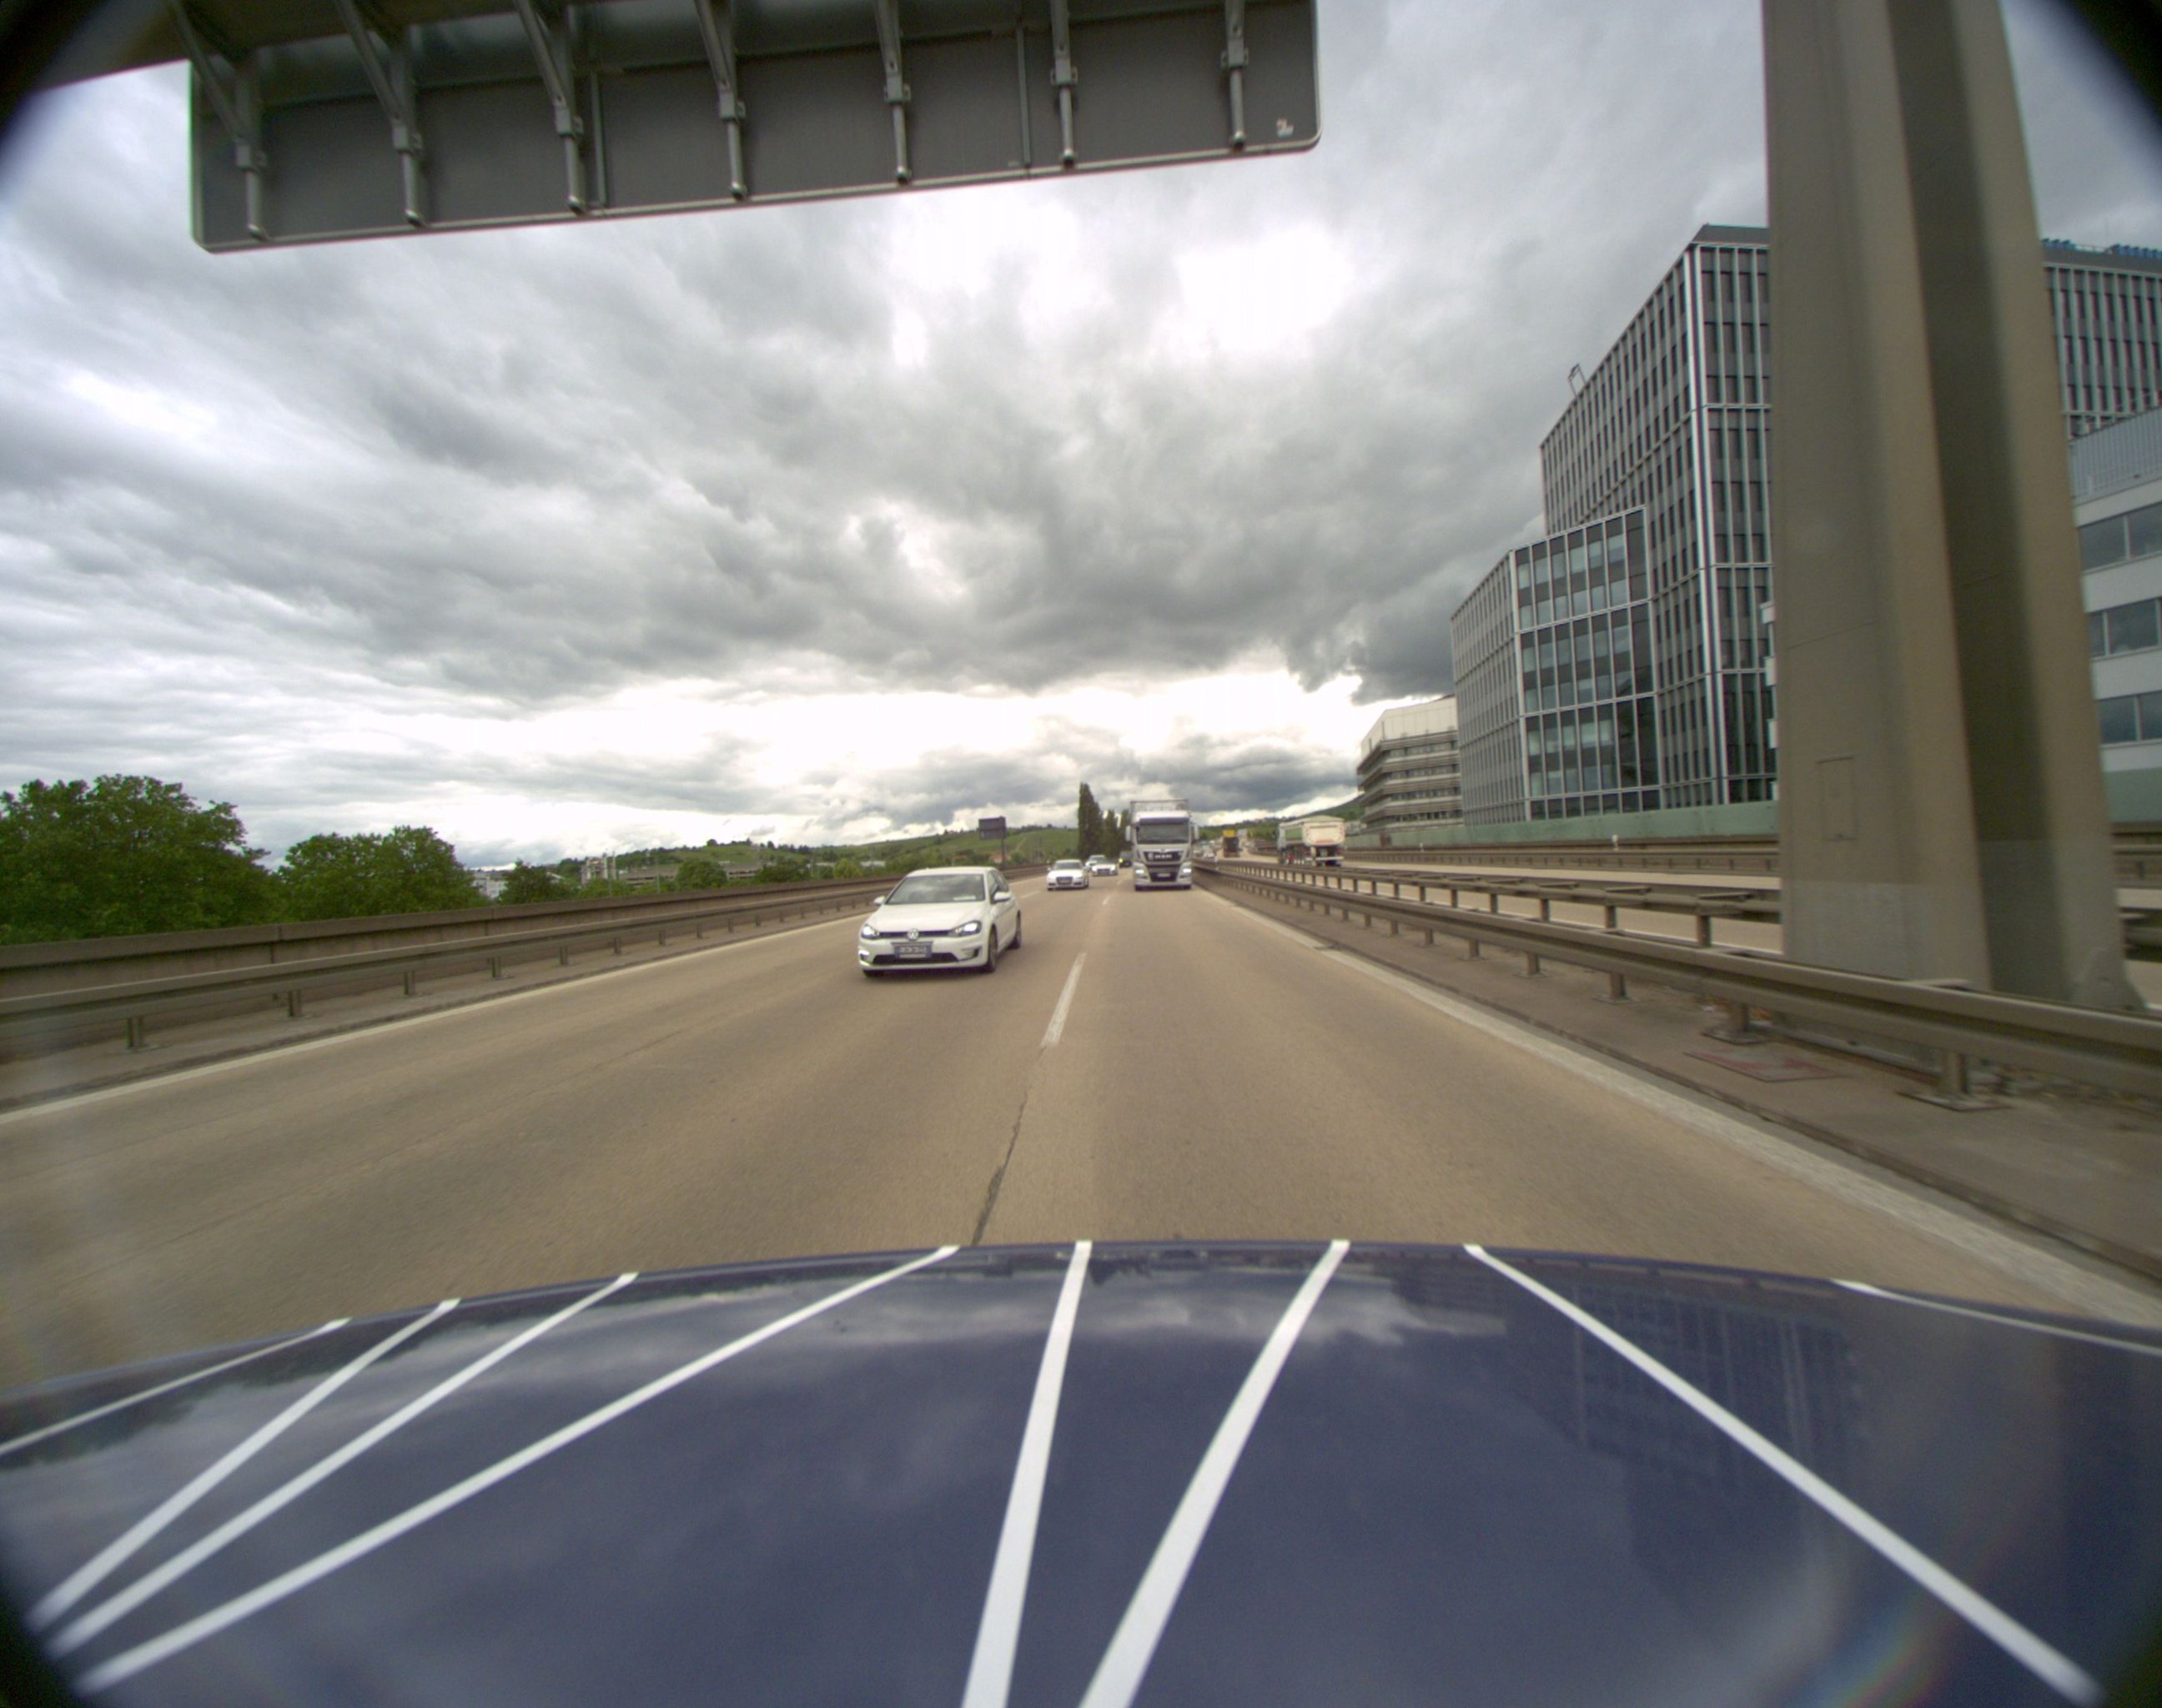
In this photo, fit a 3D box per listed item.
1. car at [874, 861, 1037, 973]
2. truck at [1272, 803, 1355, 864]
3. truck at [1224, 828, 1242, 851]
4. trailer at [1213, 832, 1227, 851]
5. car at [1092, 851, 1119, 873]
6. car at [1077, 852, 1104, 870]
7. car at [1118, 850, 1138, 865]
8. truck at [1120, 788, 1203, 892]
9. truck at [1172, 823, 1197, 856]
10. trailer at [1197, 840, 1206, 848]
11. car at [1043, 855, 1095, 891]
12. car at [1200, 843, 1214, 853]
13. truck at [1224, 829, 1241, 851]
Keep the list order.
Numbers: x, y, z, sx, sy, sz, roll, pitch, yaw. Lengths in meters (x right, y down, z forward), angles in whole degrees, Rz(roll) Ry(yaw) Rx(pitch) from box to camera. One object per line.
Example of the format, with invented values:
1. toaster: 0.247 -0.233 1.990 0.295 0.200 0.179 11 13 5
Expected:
1. car: -1.972 0.956 13.254 1.930 1.499 4.061 -2 1 3
2. truck: 16.259 -1.377 54.224 3.063 3.754 12.521 -2 1 5
3. truck: 28.039 -2.722 140.159 3.062 4.042 8.669 -2 1 11
4. trailer: 33.446 -3.073 183.236 2.850 3.965 11.887 -2 3 8
5. car: 1.949 0.615 60.507 1.930 1.585 4.061 -3 1 2
6. car: 0.950 0.706 76.814 1.929 1.585 4.064 -3 1 11
7. car: 5.667 0.440 90.994 1.929 1.585 4.063 -3 1 8
8. truck: 3.514 -0.592 33.693 3.141 4.014 5.689 -4 1 5
9. truck: 14.978 -2.098 110.602 3.063 4.536 12.074 -2 1 6
10. trailer: 29.260 -2.463 184.579 1.997 2.002 4.001 -2 1 9
11. car: -0.536 0.900 37.138 1.930 1.499 4.063 -3 1 7
12. car: 21.705 -0.986 131.081 1.998 1.597 4.808 -2 1 3
13. truck: 29.939 -2.794 150.299 3.062 4.042 11.864 -2 1 11
